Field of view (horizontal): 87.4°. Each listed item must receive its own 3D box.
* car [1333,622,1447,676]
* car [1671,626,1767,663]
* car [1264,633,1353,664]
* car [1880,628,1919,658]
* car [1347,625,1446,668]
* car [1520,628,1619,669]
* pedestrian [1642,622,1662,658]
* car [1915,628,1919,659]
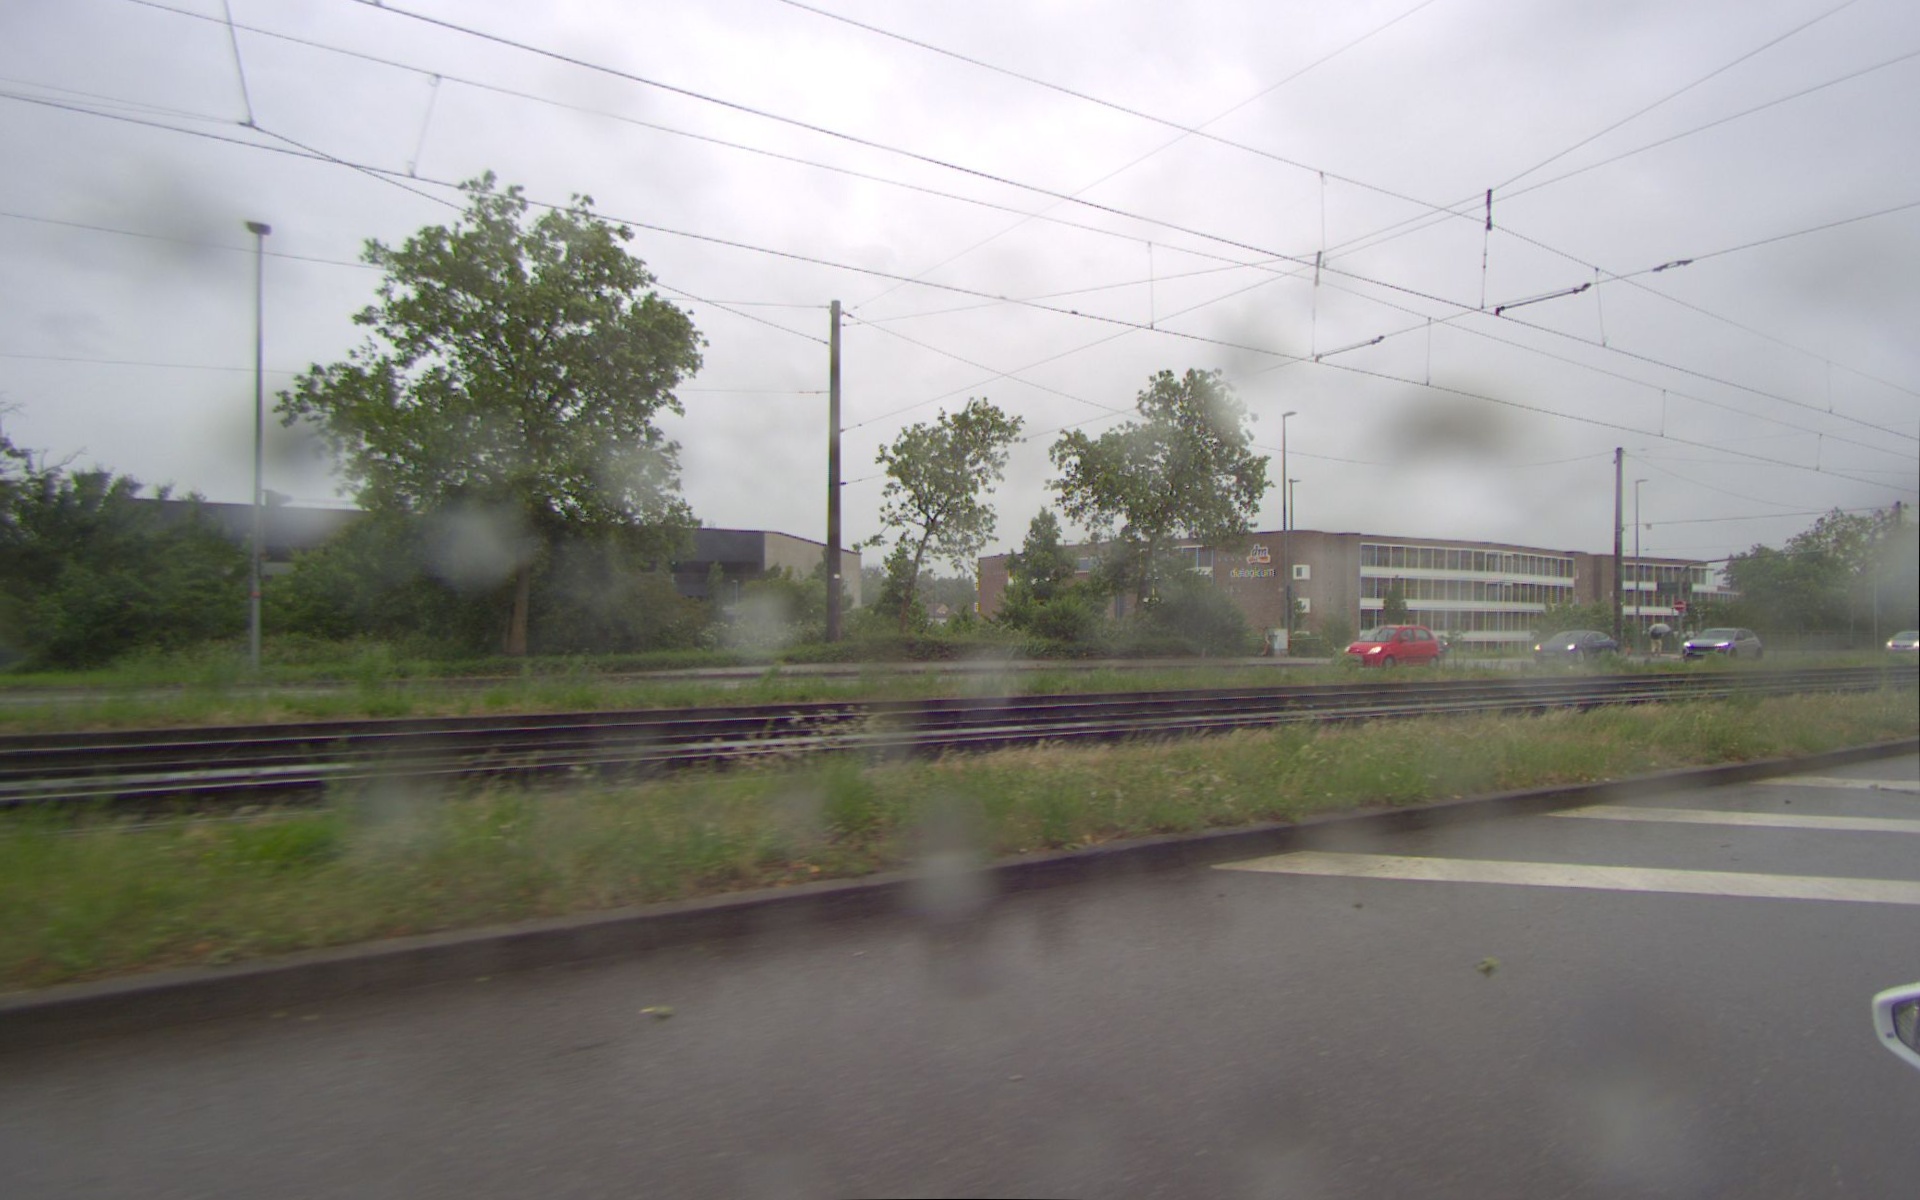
[{"bbox_3d":[13.924,1.565,32.490,3.577,1.611,1.594,2,0,-31],"label":"car"},{"bbox_3d":[33.715,1.950,44.599,4.250,1.506,1.983,1,0,-32],"label":"car"},{"bbox_3d":[19.187,2.663,55.484,1.978,1.461,4.335,1,0,-33],"label":"car"},{"bbox_3d":[55.263,2.466,58.083,4.046,1.617,1.984,1,-1,-31],"label":"car"},{"bbox_3d":[21.027,2.234,48.524,3.919,1.884,2.001,1,0,8],"label":"car"},{"bbox_3d":[27.251,2.138,44.877,4.489,1.704,1.983,1,0,-32],"label":"car"},{"bbox_3d":[40.226,2.322,58.391,0.688,2.040,0.695,1,0,-30],"label":"pedestrian"},{"bbox_3d":[53.739,2.311,54.233,4.330,1.616,1.985,1,-4,-31],"label":"car"}]
